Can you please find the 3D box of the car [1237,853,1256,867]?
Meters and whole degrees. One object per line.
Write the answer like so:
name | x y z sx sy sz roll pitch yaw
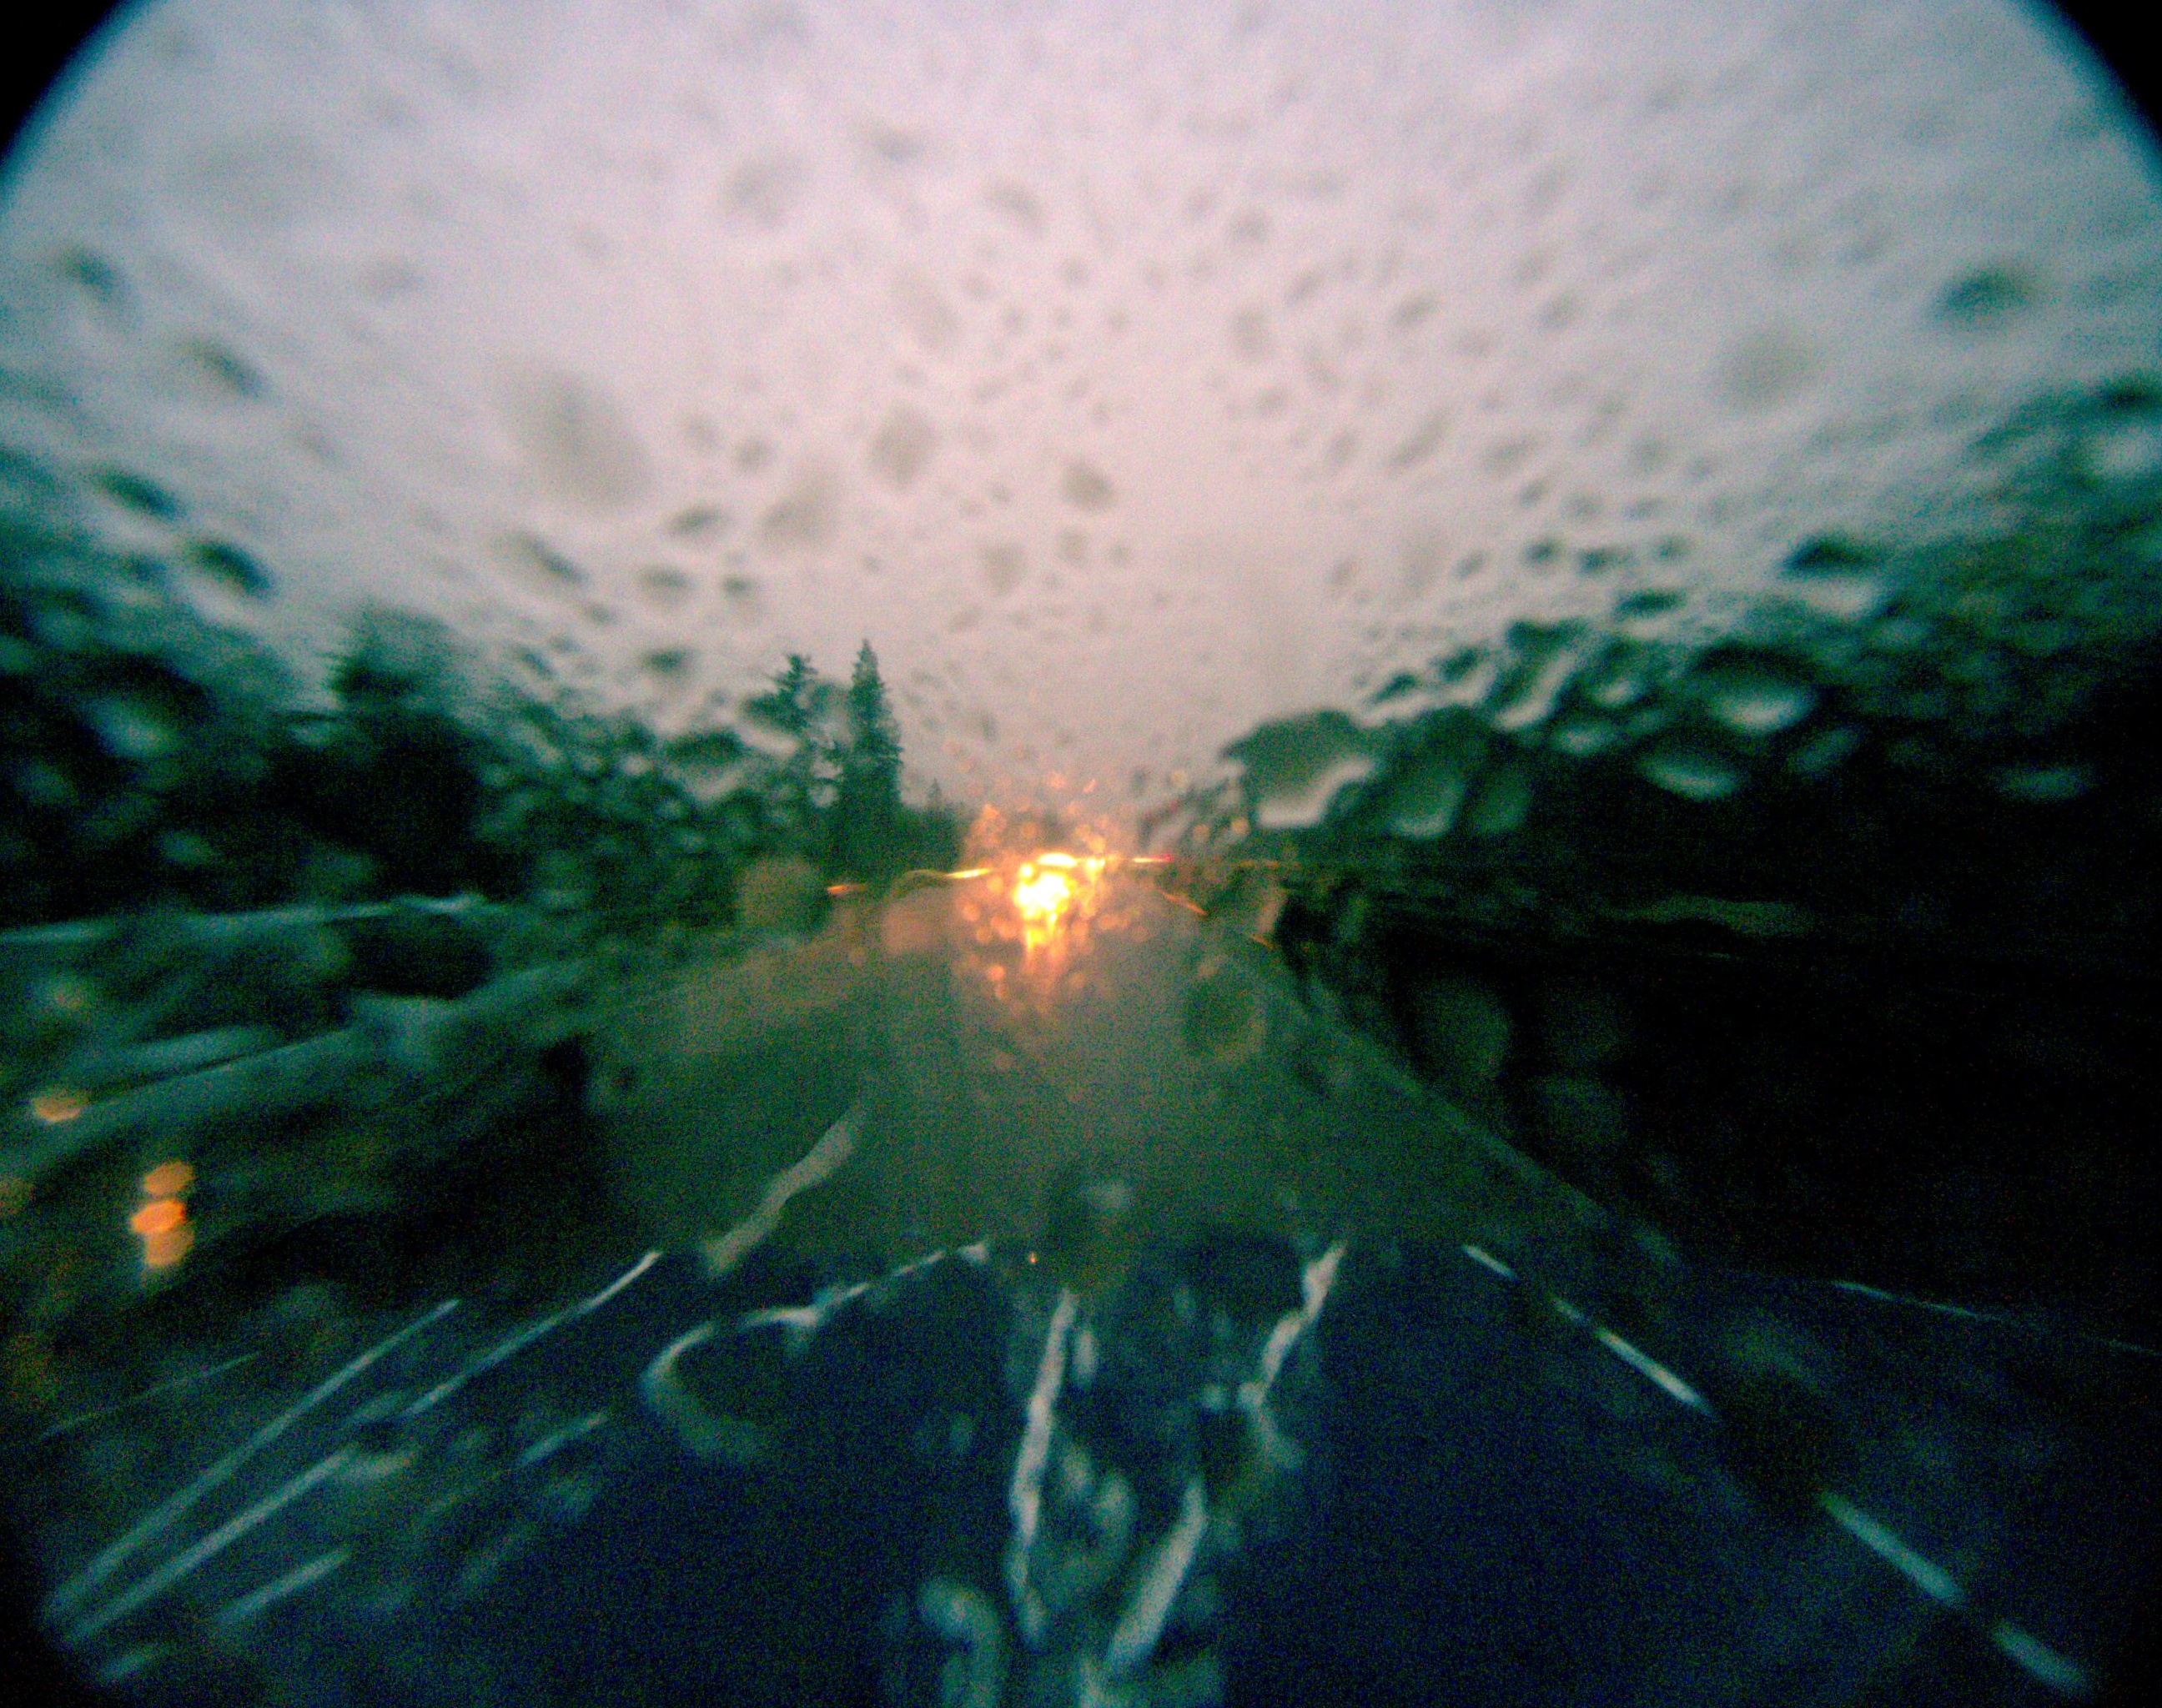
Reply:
car | 18.622 0.625 85.775 1.531 1.408 3.753 -2 1 5

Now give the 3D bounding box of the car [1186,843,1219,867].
car | 8.607 0.039 54.208 1.683 1.569 4.421 -2 1 1

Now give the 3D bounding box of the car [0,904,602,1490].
car | -3.689 1.022 2.906 1.603 1.358 3.304 -2 0 -1

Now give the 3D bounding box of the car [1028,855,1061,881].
car | -2.221 0.830 47.098 1.741 1.441 4.000 -2 1 1

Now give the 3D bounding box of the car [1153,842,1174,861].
car | 9.714 -0.329 89.993 1.998 2.118 4.572 -2 1 1
